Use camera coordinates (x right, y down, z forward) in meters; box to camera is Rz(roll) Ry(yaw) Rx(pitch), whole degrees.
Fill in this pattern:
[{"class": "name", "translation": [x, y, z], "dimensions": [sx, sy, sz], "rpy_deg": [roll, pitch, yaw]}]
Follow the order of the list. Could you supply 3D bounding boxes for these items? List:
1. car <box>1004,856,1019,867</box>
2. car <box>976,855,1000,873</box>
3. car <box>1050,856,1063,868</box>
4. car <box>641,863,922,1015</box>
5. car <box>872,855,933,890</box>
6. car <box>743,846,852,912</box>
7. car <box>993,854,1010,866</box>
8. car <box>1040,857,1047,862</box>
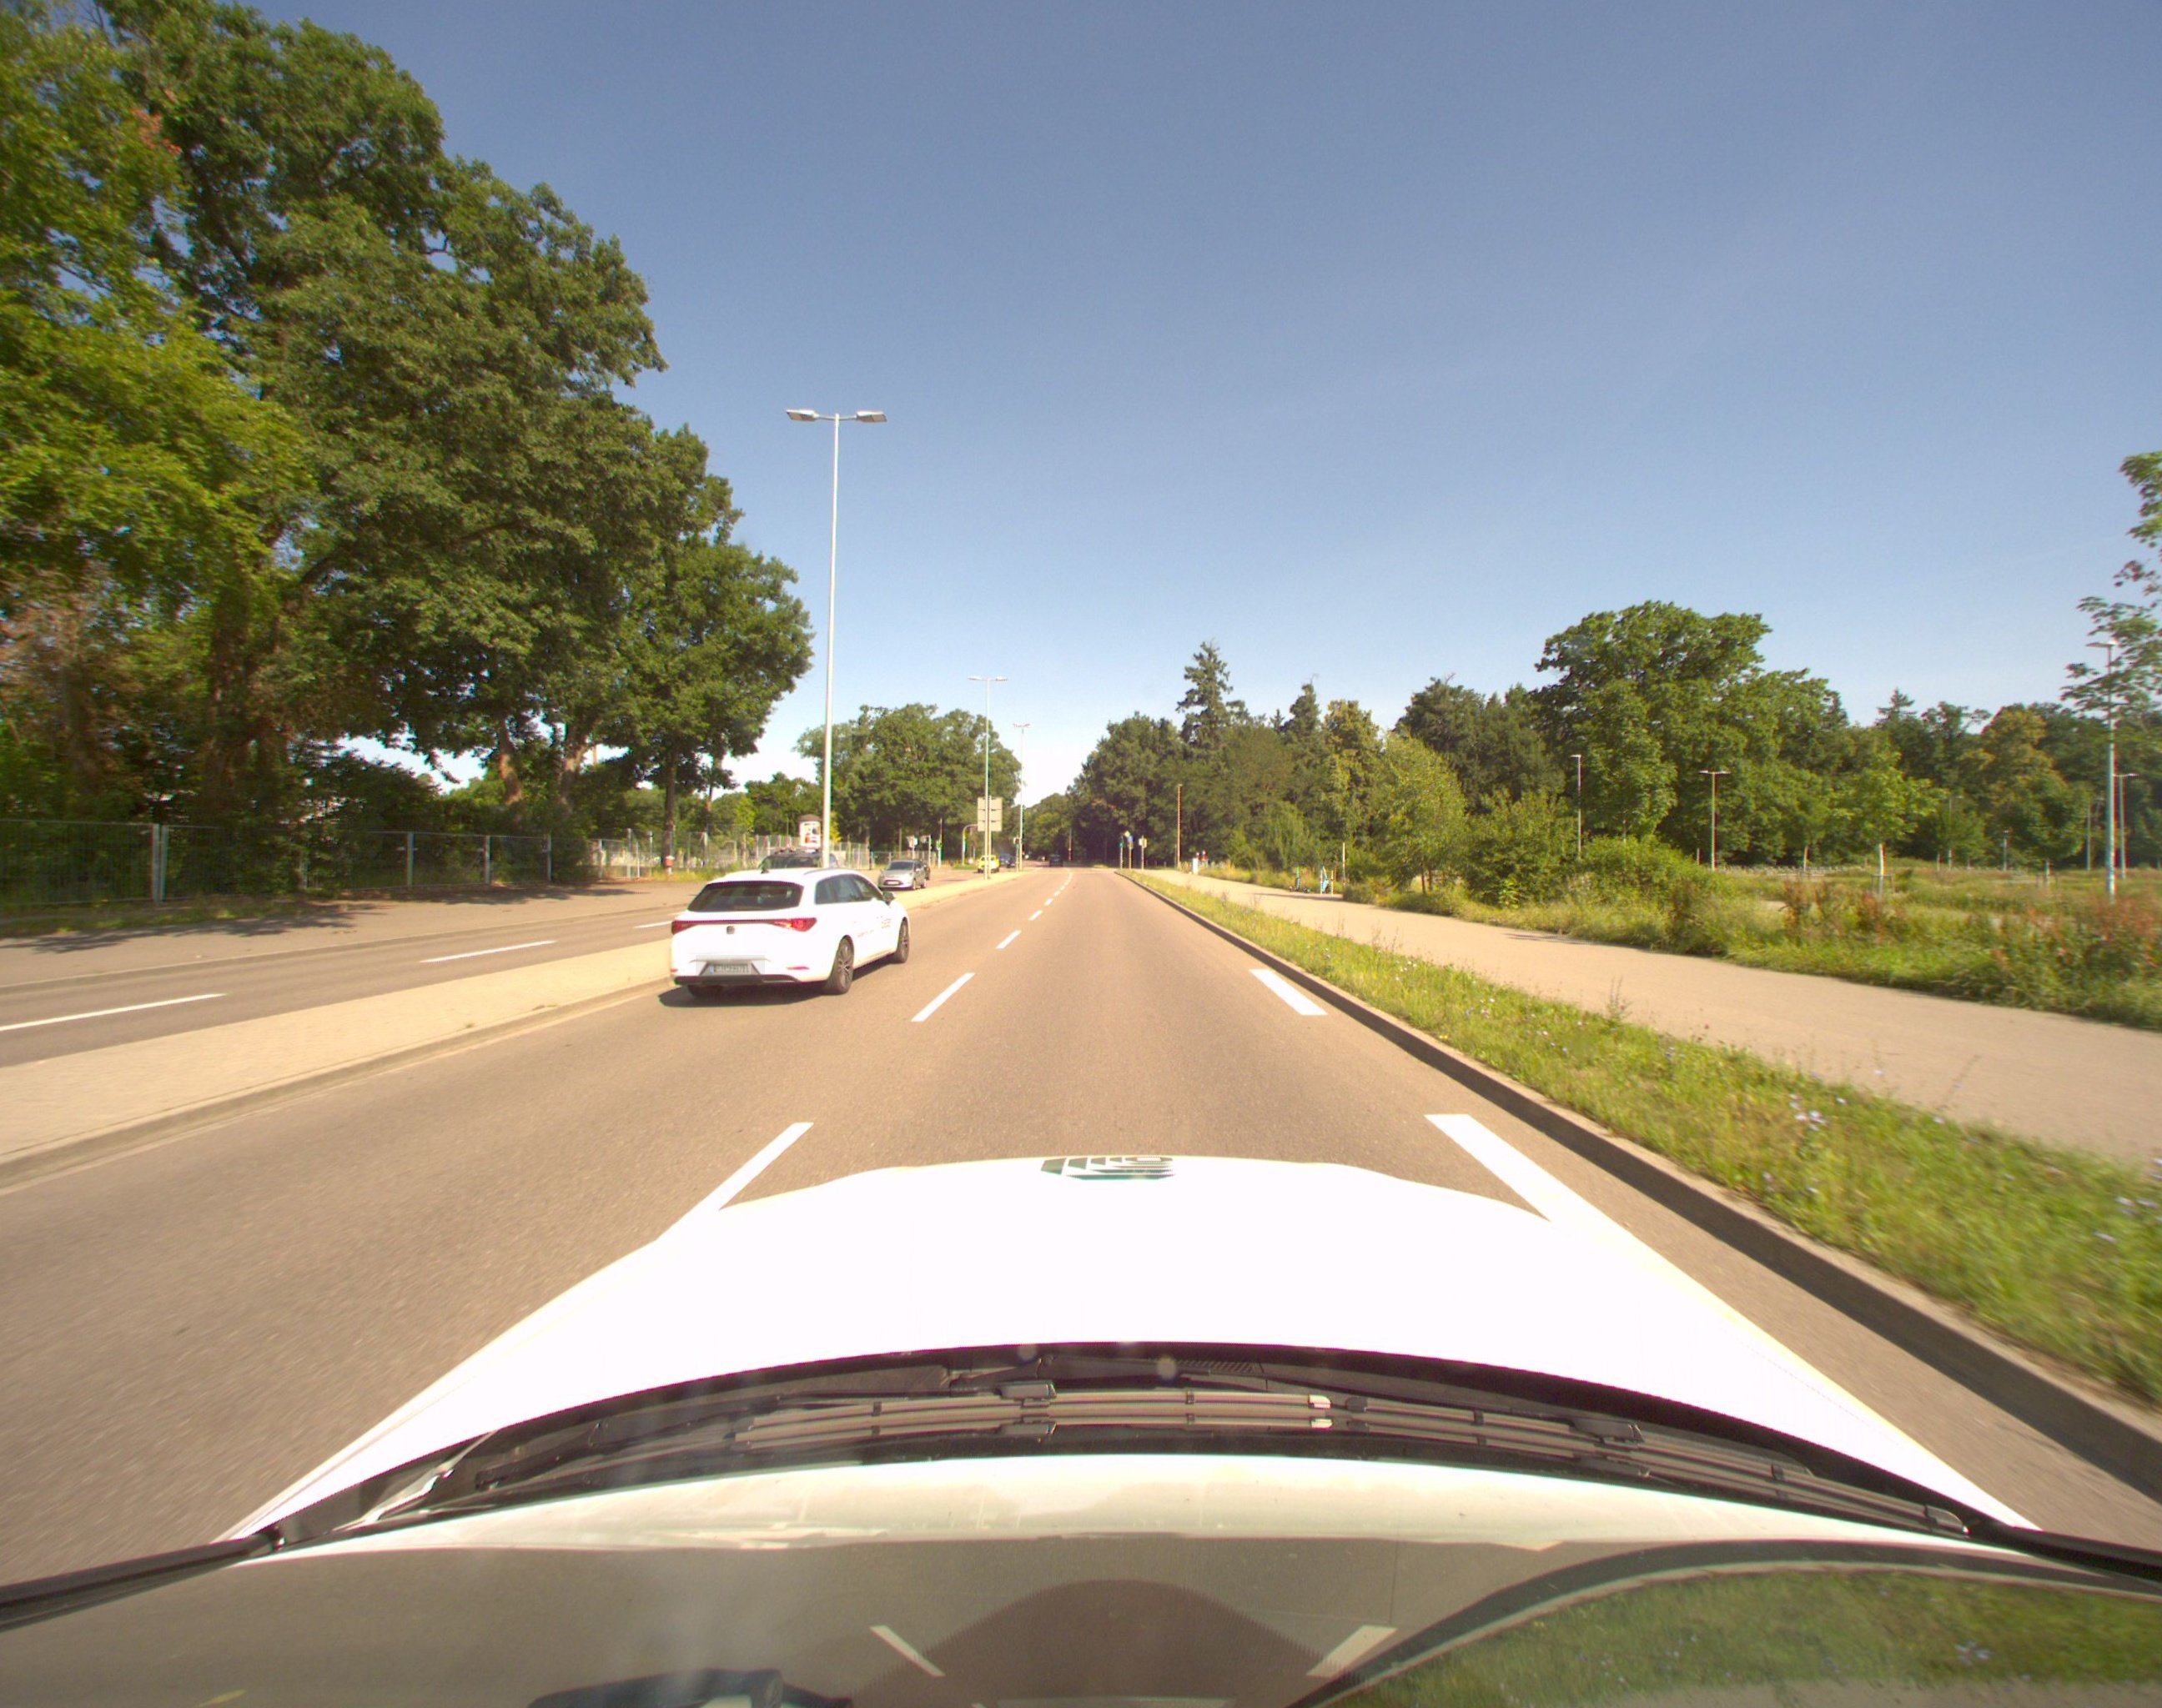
[{"class": "car", "translation": [-9.077, 0.980, 106.256], "dimensions": [1.815, 1.464, 3.996], "rpy_deg": [1, 0, -3]}, {"class": "car", "translation": [-8.752, 0.895, 77.224], "dimensions": [1.841, 1.618, 3.998], "rpy_deg": [1, 0, -1]}, {"class": "car", "translation": [-3.219, 1.007, 109.034], "dimensions": [1.683, 1.544, 4.145], "rpy_deg": [-1, 0, -2]}, {"class": "car", "translation": [-3.469, 0.885, 10.531], "dimensions": [1.718, 1.427, 4.722], "rpy_deg": [-1, 0, 2]}, {"class": "car", "translation": [-8.547, 0.858, 39.292], "dimensions": [1.902, 1.585, 4.001], "rpy_deg": [1, 0, 2]}, {"class": "car", "translation": [-8.983, 0.745, 26.266], "dimensions": [1.835, 1.932, 4.629], "rpy_deg": [-1, 0, 1]}, {"class": "car", "translation": [-11.732, 0.910, 119.977], "dimensions": [1.922, 1.772, 4.002], "rpy_deg": [1, 0, 2]}, {"class": "car", "translation": [-9.809, 1.424, 212.414], "dimensions": [1.936, 1.420, 4.288], "rpy_deg": [0, 0, -3]}]
